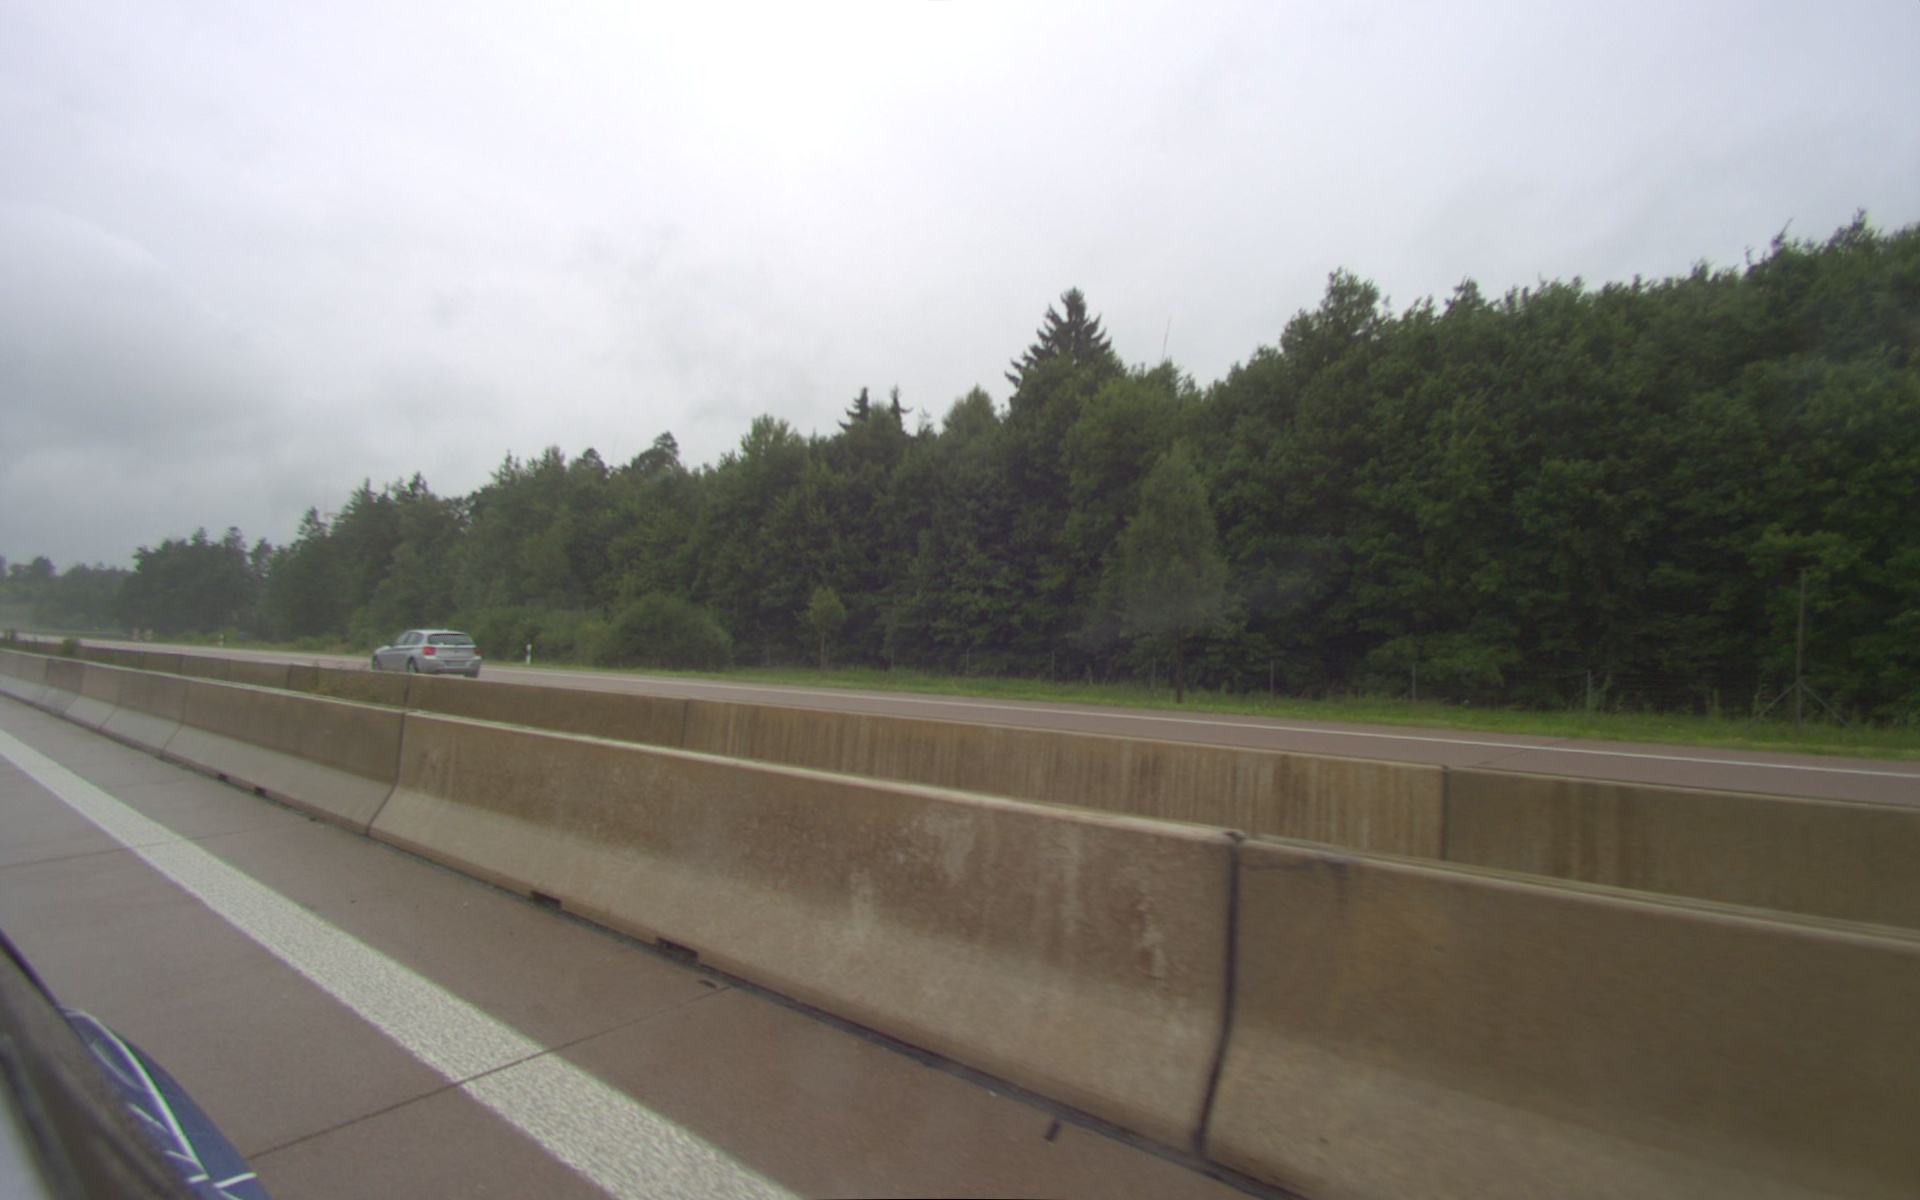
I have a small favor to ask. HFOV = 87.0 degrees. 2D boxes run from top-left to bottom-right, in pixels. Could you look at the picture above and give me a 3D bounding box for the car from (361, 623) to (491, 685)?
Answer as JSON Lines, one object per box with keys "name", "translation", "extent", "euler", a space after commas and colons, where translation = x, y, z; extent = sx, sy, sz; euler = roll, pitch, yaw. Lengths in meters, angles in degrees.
{"name": "car", "translation": [-15.395, 1.524, 29.078], "extent": [4.503, 1.644, 1.789], "euler": [-2, -3, 41]}
